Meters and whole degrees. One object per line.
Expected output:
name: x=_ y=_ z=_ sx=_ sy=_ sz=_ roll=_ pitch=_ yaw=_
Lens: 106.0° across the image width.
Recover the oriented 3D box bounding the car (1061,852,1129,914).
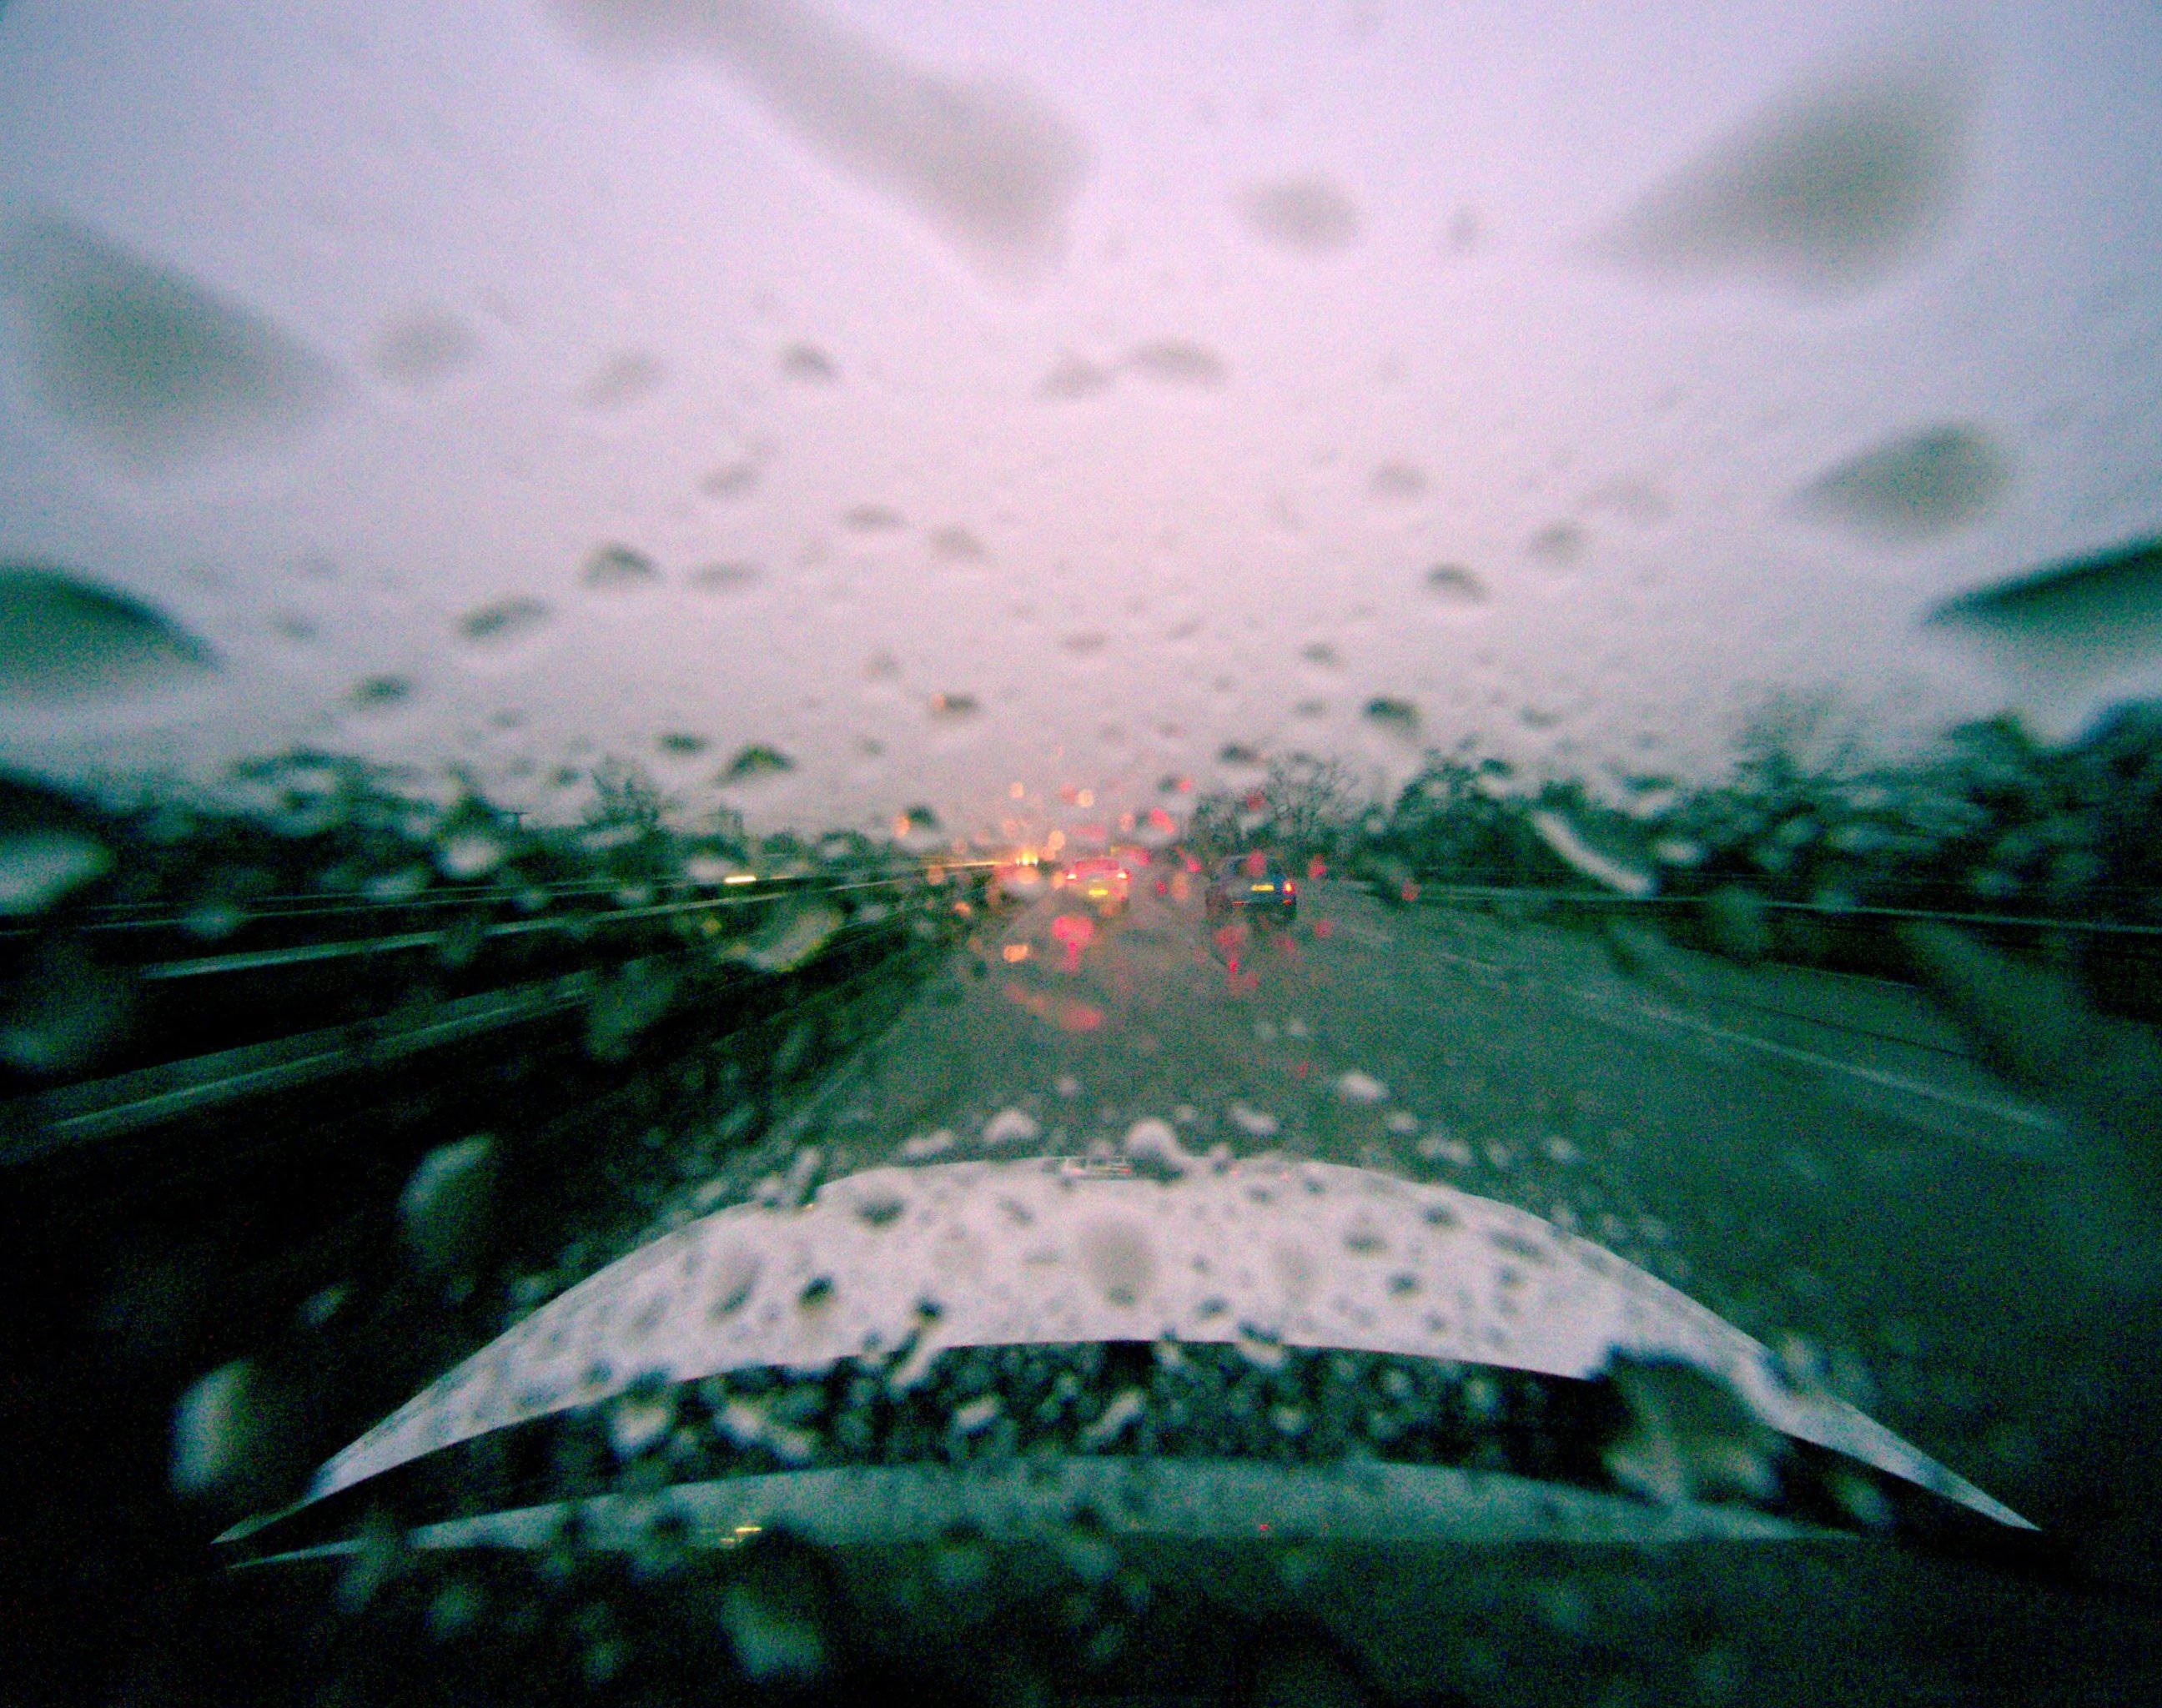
car: x=0.446 y=0.778 z=23.970 sx=1.839 sy=1.636 sz=3.769 roll=0 pitch=1 yaw=2

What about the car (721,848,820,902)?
car: x=-11.178 y=0.698 z=29.732 sx=1.890 sy=1.784 sz=4.701 roll=0 pitch=0 yaw=-1

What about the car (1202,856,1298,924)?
car: x=4.045 y=0.802 z=20.118 sx=1.837 sy=1.453 sz=4.155 roll=-1 pitch=0 yaw=5
